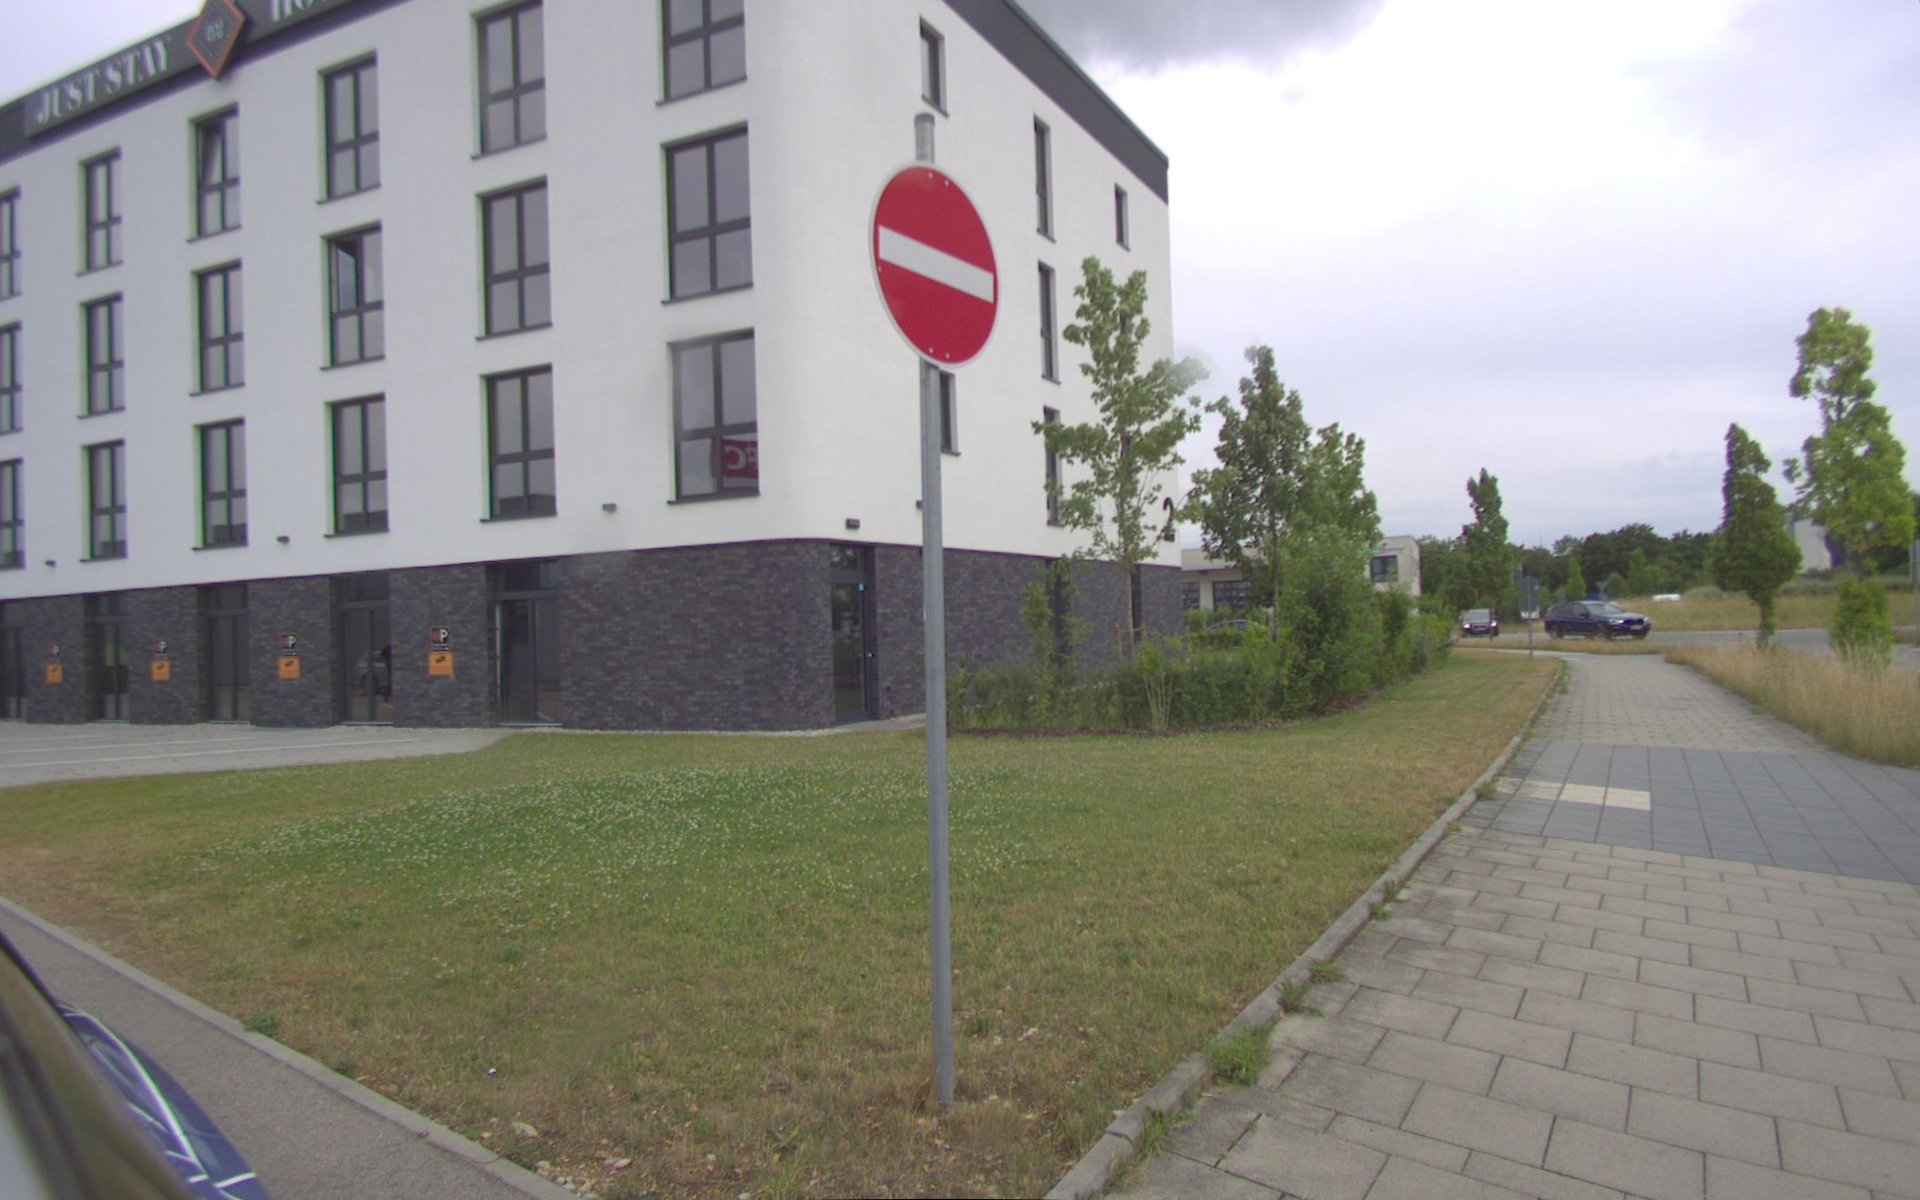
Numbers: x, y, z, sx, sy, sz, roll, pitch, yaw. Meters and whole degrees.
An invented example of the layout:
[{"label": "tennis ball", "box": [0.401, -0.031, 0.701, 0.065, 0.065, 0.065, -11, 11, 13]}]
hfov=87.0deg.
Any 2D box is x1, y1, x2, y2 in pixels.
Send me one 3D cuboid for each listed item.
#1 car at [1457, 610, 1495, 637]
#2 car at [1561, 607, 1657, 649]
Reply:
[{"label": "car", "box": [28.107, 1.263, 55.070, 1.555, 1.364, 3.258, -3, -2, 32]}, {"label": "car", "box": [27.595, 1.170, 43.189, 1.873, 1.652, 3.989, -2, -1, 8]}]
